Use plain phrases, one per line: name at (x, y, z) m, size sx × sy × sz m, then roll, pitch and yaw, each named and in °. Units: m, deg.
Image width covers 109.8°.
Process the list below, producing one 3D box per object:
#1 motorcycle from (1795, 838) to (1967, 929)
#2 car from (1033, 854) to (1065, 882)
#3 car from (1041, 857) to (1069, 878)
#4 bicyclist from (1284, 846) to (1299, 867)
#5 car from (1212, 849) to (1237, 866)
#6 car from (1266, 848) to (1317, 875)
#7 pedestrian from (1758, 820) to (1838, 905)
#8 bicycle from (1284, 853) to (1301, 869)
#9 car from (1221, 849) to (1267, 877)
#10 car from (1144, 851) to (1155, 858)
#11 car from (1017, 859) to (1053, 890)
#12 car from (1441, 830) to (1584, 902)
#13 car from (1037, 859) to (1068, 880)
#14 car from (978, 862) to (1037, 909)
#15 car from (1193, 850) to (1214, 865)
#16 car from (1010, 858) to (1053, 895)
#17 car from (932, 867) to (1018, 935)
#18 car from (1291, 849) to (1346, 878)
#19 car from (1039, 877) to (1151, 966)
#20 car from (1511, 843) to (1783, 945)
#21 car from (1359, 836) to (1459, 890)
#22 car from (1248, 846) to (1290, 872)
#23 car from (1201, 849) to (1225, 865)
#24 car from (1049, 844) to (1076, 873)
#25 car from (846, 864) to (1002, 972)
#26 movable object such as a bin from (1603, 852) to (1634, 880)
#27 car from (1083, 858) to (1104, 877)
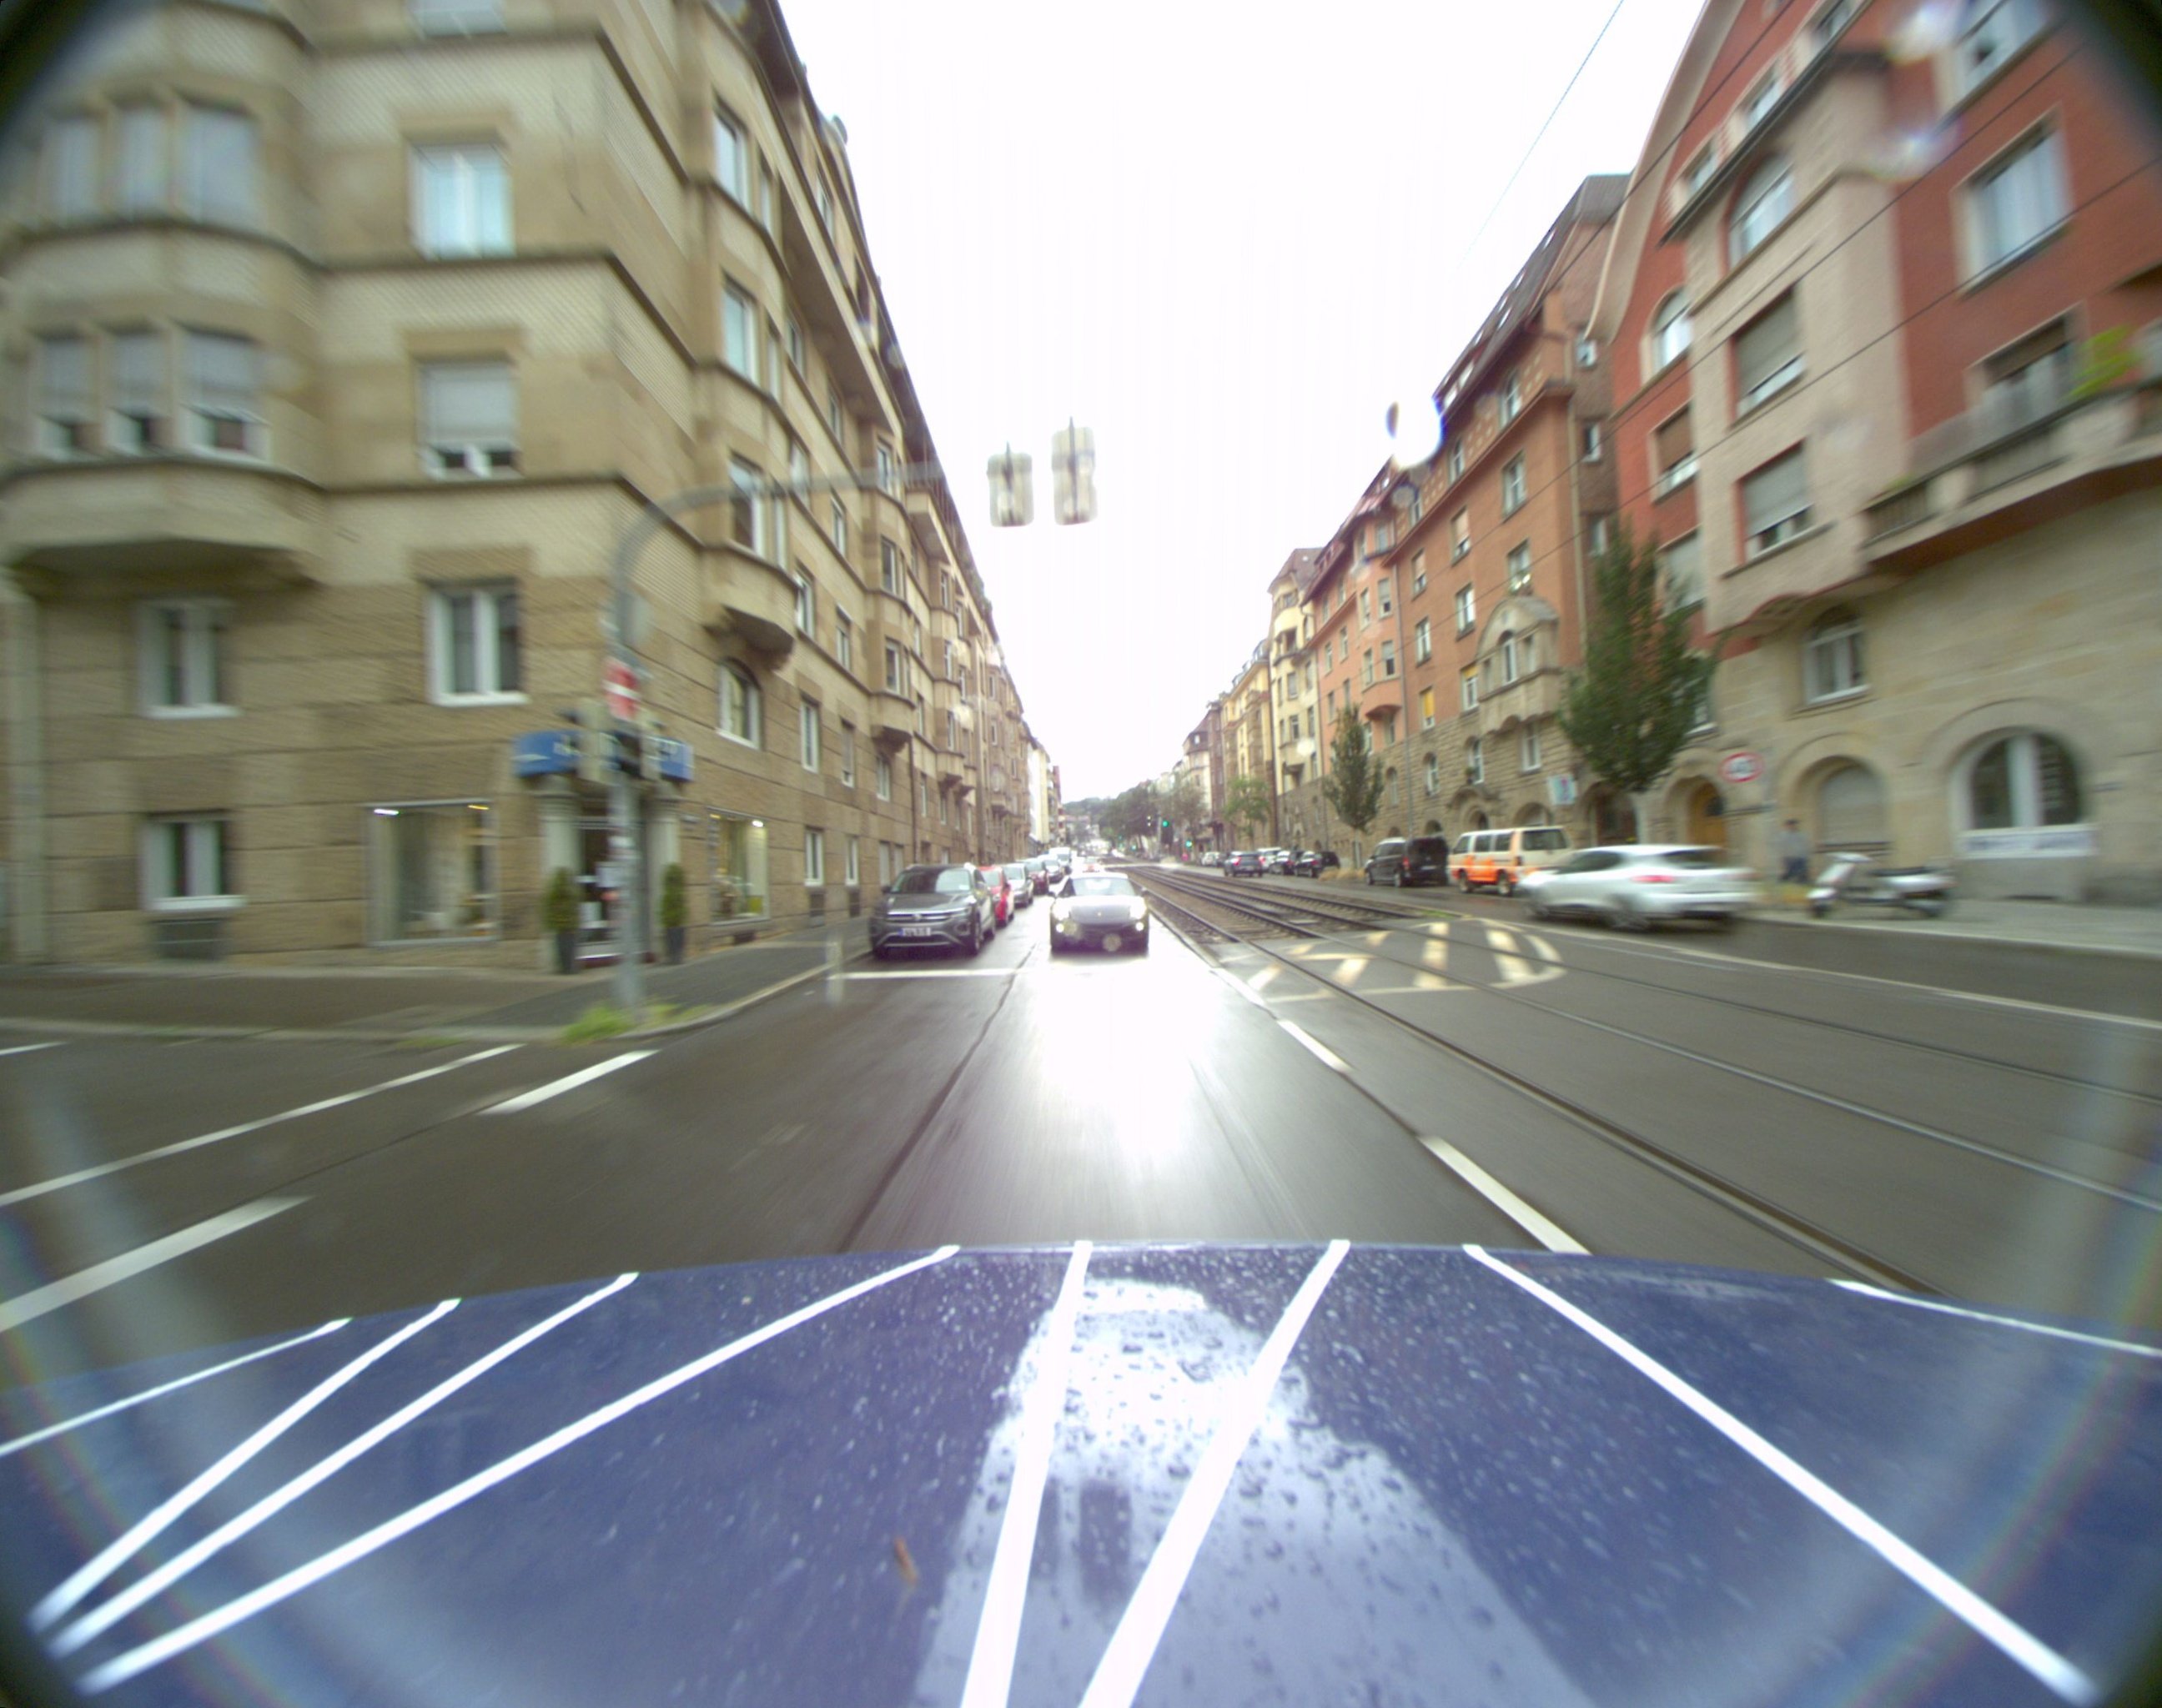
motorcycle at (12.874, 0.459, 12.309) m, size 1.779 × 1.367 × 0.769 m, roll -1°, pitch 1°, yaw 33°
car at (-2.117, 0.906, 51.023) m, size 1.811 × 1.758 × 3.962 m, roll -2°, pitch 0°, yaw 1°
car at (-2.077, 1.044, 60.761) m, size 1.935 × 1.515 × 4.058 m, roll -3°, pitch 0°, yaw 1°
bicyclist at (16.262, 0.164, 58.661) m, size 0.894 × 1.592 × 0.774 m, roll -2°, pitch 1°, yaw 1°
car at (13.498, 0.306, 71.496) m, size 1.717 × 1.473 × 3.712 m, roll -5°, pitch 1°, yaw 2°
car at (13.009, 0.450, 47.319) m, size 1.760 × 1.482 × 4.597 m, roll -4°, pitch 1°, yaw -1°
pedestrian at (15.478, 0.176, 16.424) m, size 0.718 × 1.710 × 0.892 m, roll -7°, pitch 1°, yaw 1°
bicycle at (16.306, 0.527, 58.611) m, size 0.694 × 1.215 × 2.053 m, roll -2°, pitch 1°, yaw 1°
car at (10.184, 0.549, 47.775) m, size 1.926 × 1.608 × 4.128 m, roll -2°, pitch 1°, yaw 0°
car at (13.298, 0.100, 147.544) m, size 1.794 × 1.339 × 4.257 m, roll -2°, pitch 1°, yaw 1°
car at (-2.444, 1.087, 41.056) m, size 1.632 × 1.502 × 3.531 m, roll -3°, pitch 0°, yaw 0°
car at (12.841, 0.299, 22.975) m, size 1.732 × 1.919 × 4.475 m, roll -2°, pitch 1°, yaw 0°
car at (-2.050, 1.095, 55.840) m, size 1.931 × 1.380 × 3.982 m, roll -3°, pitch 0°, yaw 1°
car at (-2.528, 1.070, 26.855) m, size 1.598 × 1.478 × 3.522 m, roll -1°, pitch 0°, yaw 1°
car at (13.294, 0.336, 82.576) m, size 1.759 × 1.419 × 3.712 m, roll -5°, pitch 1°, yaw 2°
car at (-2.292, 1.019, 36.172) m, size 1.774 × 1.592 × 4.000 m, roll -1°, pitch 0°, yaw 0°
car at (-2.616, 1.121, 19.525) m, size 1.710 × 1.444 × 3.532 m, roll -3°, pitch 0°, yaw -1°
car at (13.209, 0.496, 42.411) m, size 1.760 × 1.395 × 3.694 m, roll -4°, pitch 1°, yaw -2°
car at (0.265, 1.107, 13.920) m, size 1.737 × 1.262 × 4.258 m, roll 0°, pitch 0°, yaw 1°
car at (9.739, 0.586, 13.555) m, size 1.785 × 1.494 × 4.062 m, roll -2°, pitch 1°, yaw 0°
car at (12.866, 0.311, 30.170) m, size 1.910 × 1.919 × 4.832 m, roll -2°, pitch 1°, yaw 0°
car at (13.081, 0.316, 53.001) m, size 1.759 × 1.662 × 4.259 m, roll -5°, pitch 1°, yaw 0°
car at (13.498, 0.308, 77.701) m, size 1.759 × 1.443 × 4.043 m, roll -5°, pitch 1°, yaw 2°
car at (-1.698, 0.412, 72.003) m, size 1.991 × 2.520 × 6.155 m, roll -3°, pitch 0°, yaw 3°
car at (-2.675, 1.033, 13.937) m, size 1.872 × 1.539 × 3.991 m, roll -3°, pitch 0°, yaw 1°
movable object such as a bin at (17.755, 0.391, 25.108) m, size 0.547 × 0.893 × 0.656 m, roll -2°, pitch 1°, yaw 4°
car at (1.106, 1.166, 66.670) m, size 1.793 × 1.459 × 4.257 m, roll -2°, pitch 1°, yaw 1°
